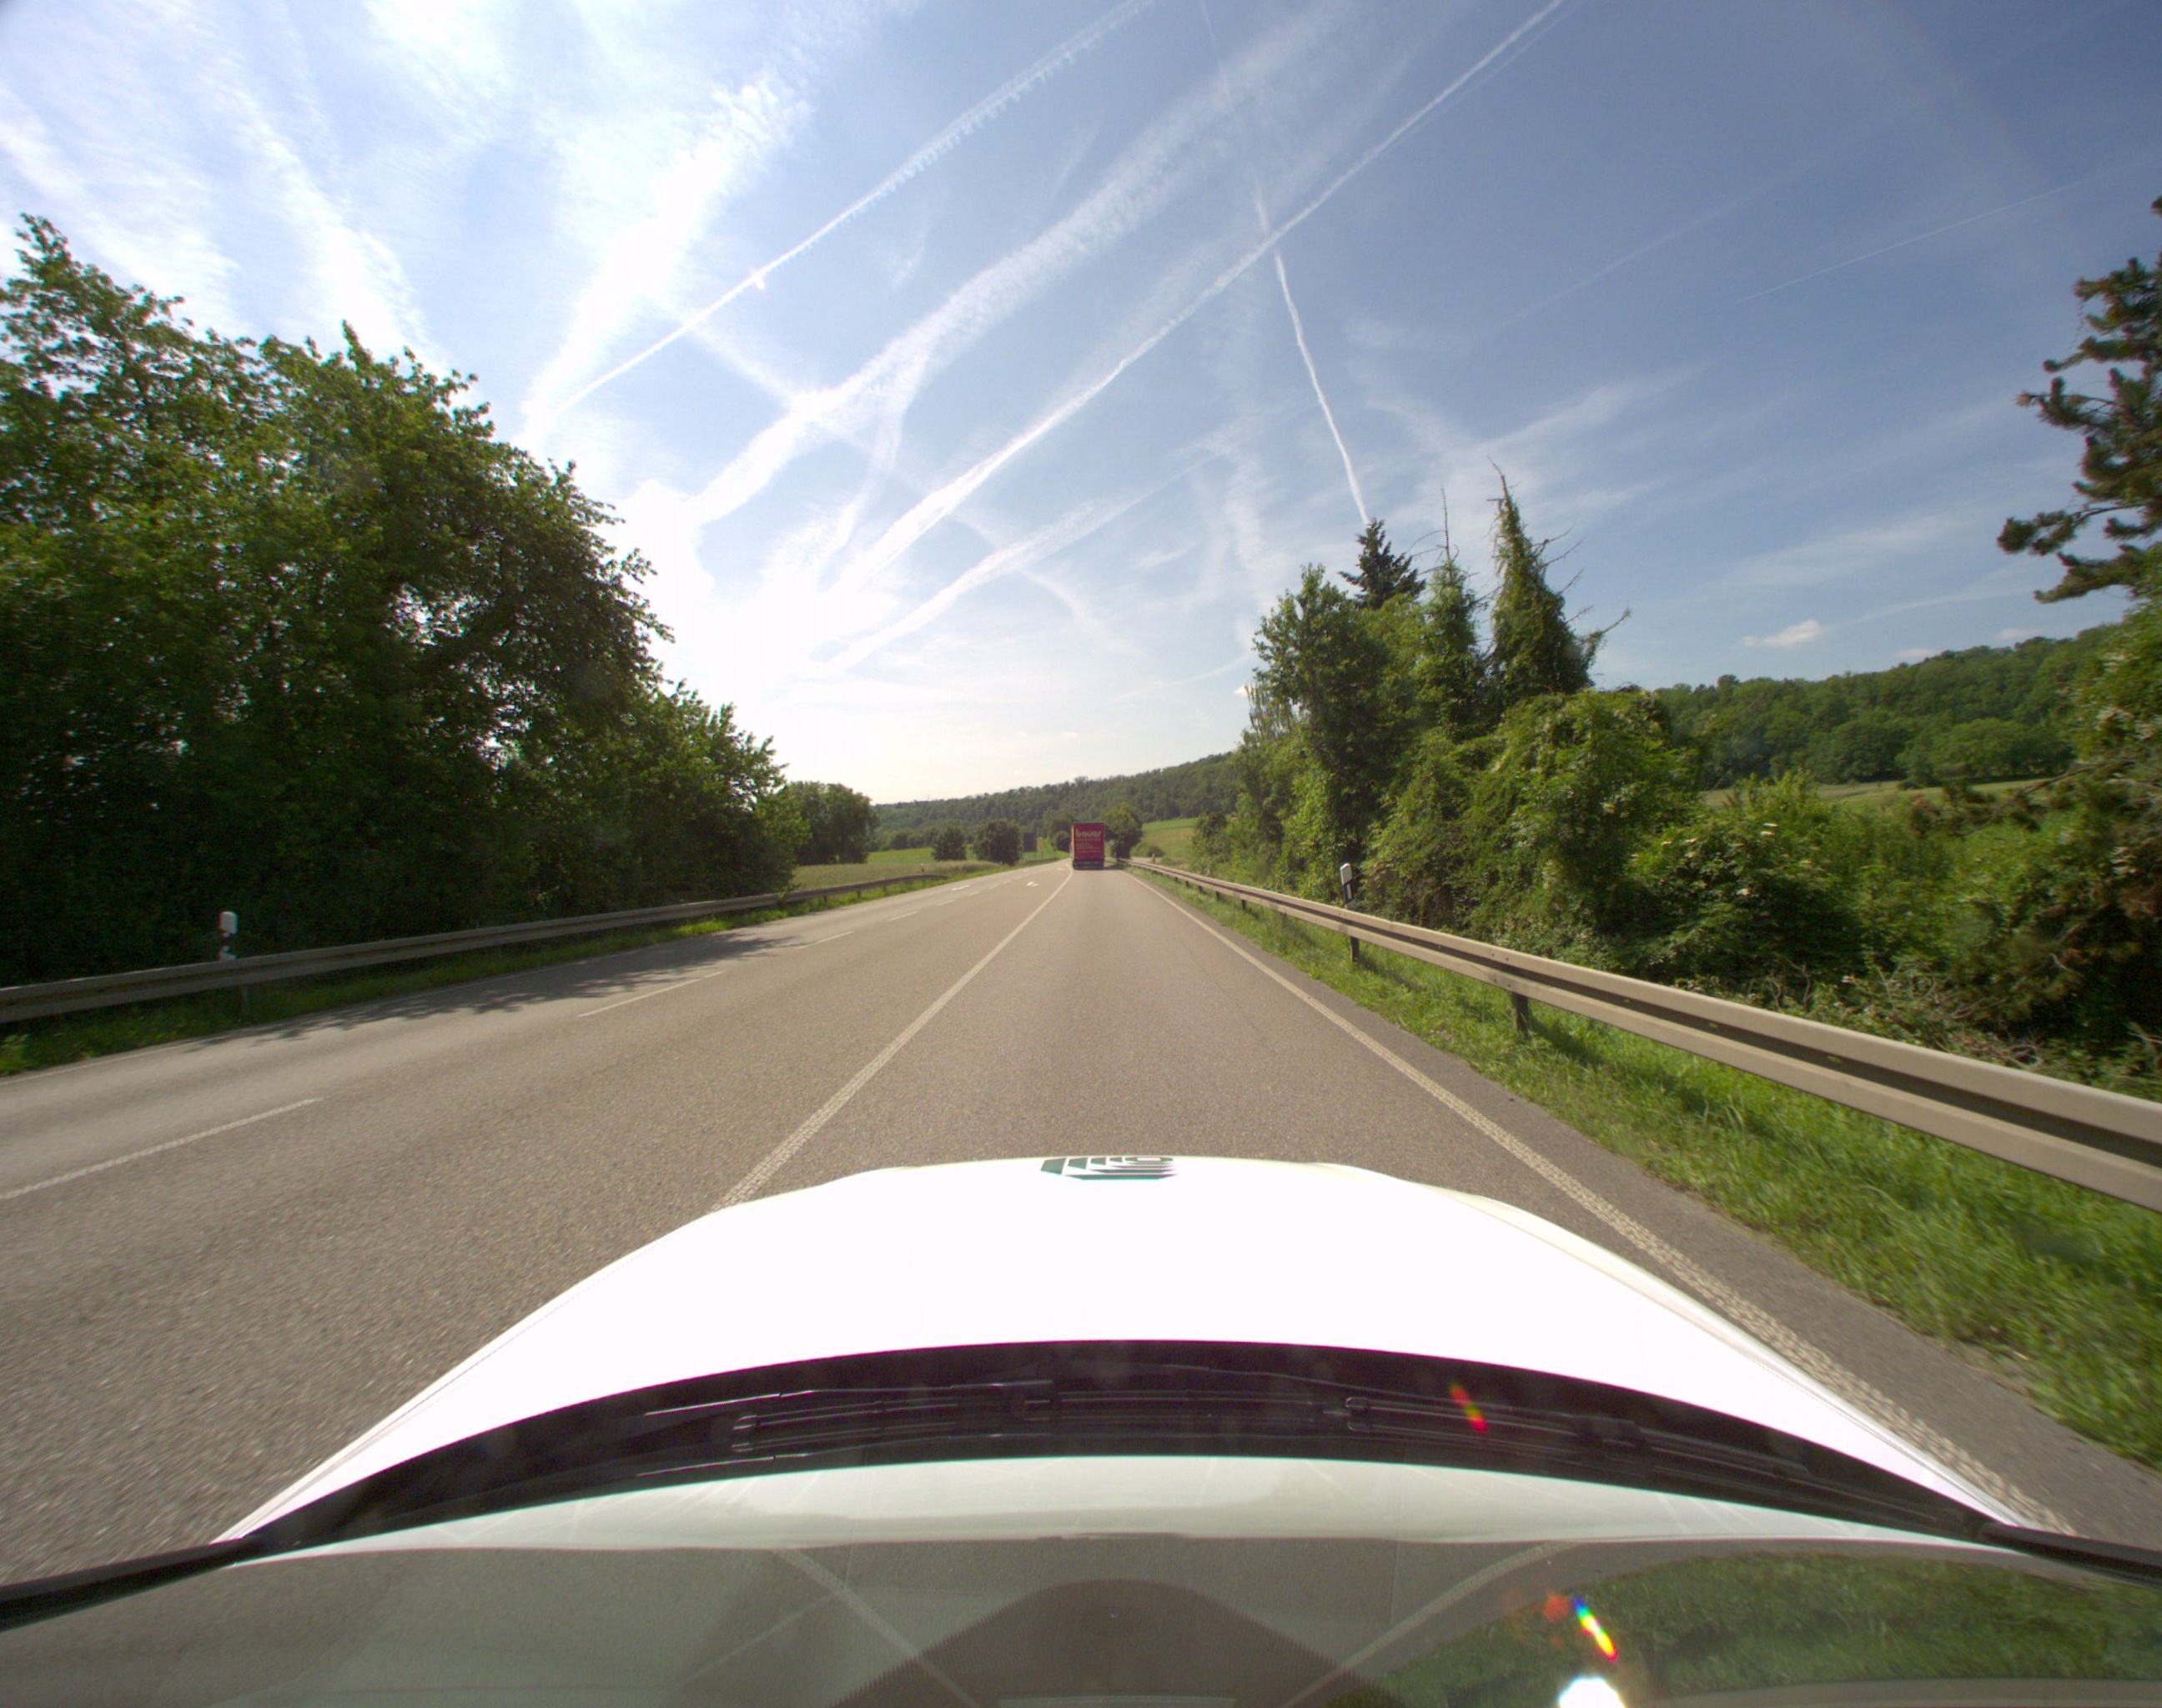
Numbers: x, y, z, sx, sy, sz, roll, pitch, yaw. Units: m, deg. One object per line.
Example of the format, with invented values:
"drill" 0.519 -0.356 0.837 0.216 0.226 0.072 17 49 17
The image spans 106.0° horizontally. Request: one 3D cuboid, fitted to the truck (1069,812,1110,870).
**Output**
"truck" 0.626 -1.146 73.133 3.163 4.625 13.539 -2 0 -1
